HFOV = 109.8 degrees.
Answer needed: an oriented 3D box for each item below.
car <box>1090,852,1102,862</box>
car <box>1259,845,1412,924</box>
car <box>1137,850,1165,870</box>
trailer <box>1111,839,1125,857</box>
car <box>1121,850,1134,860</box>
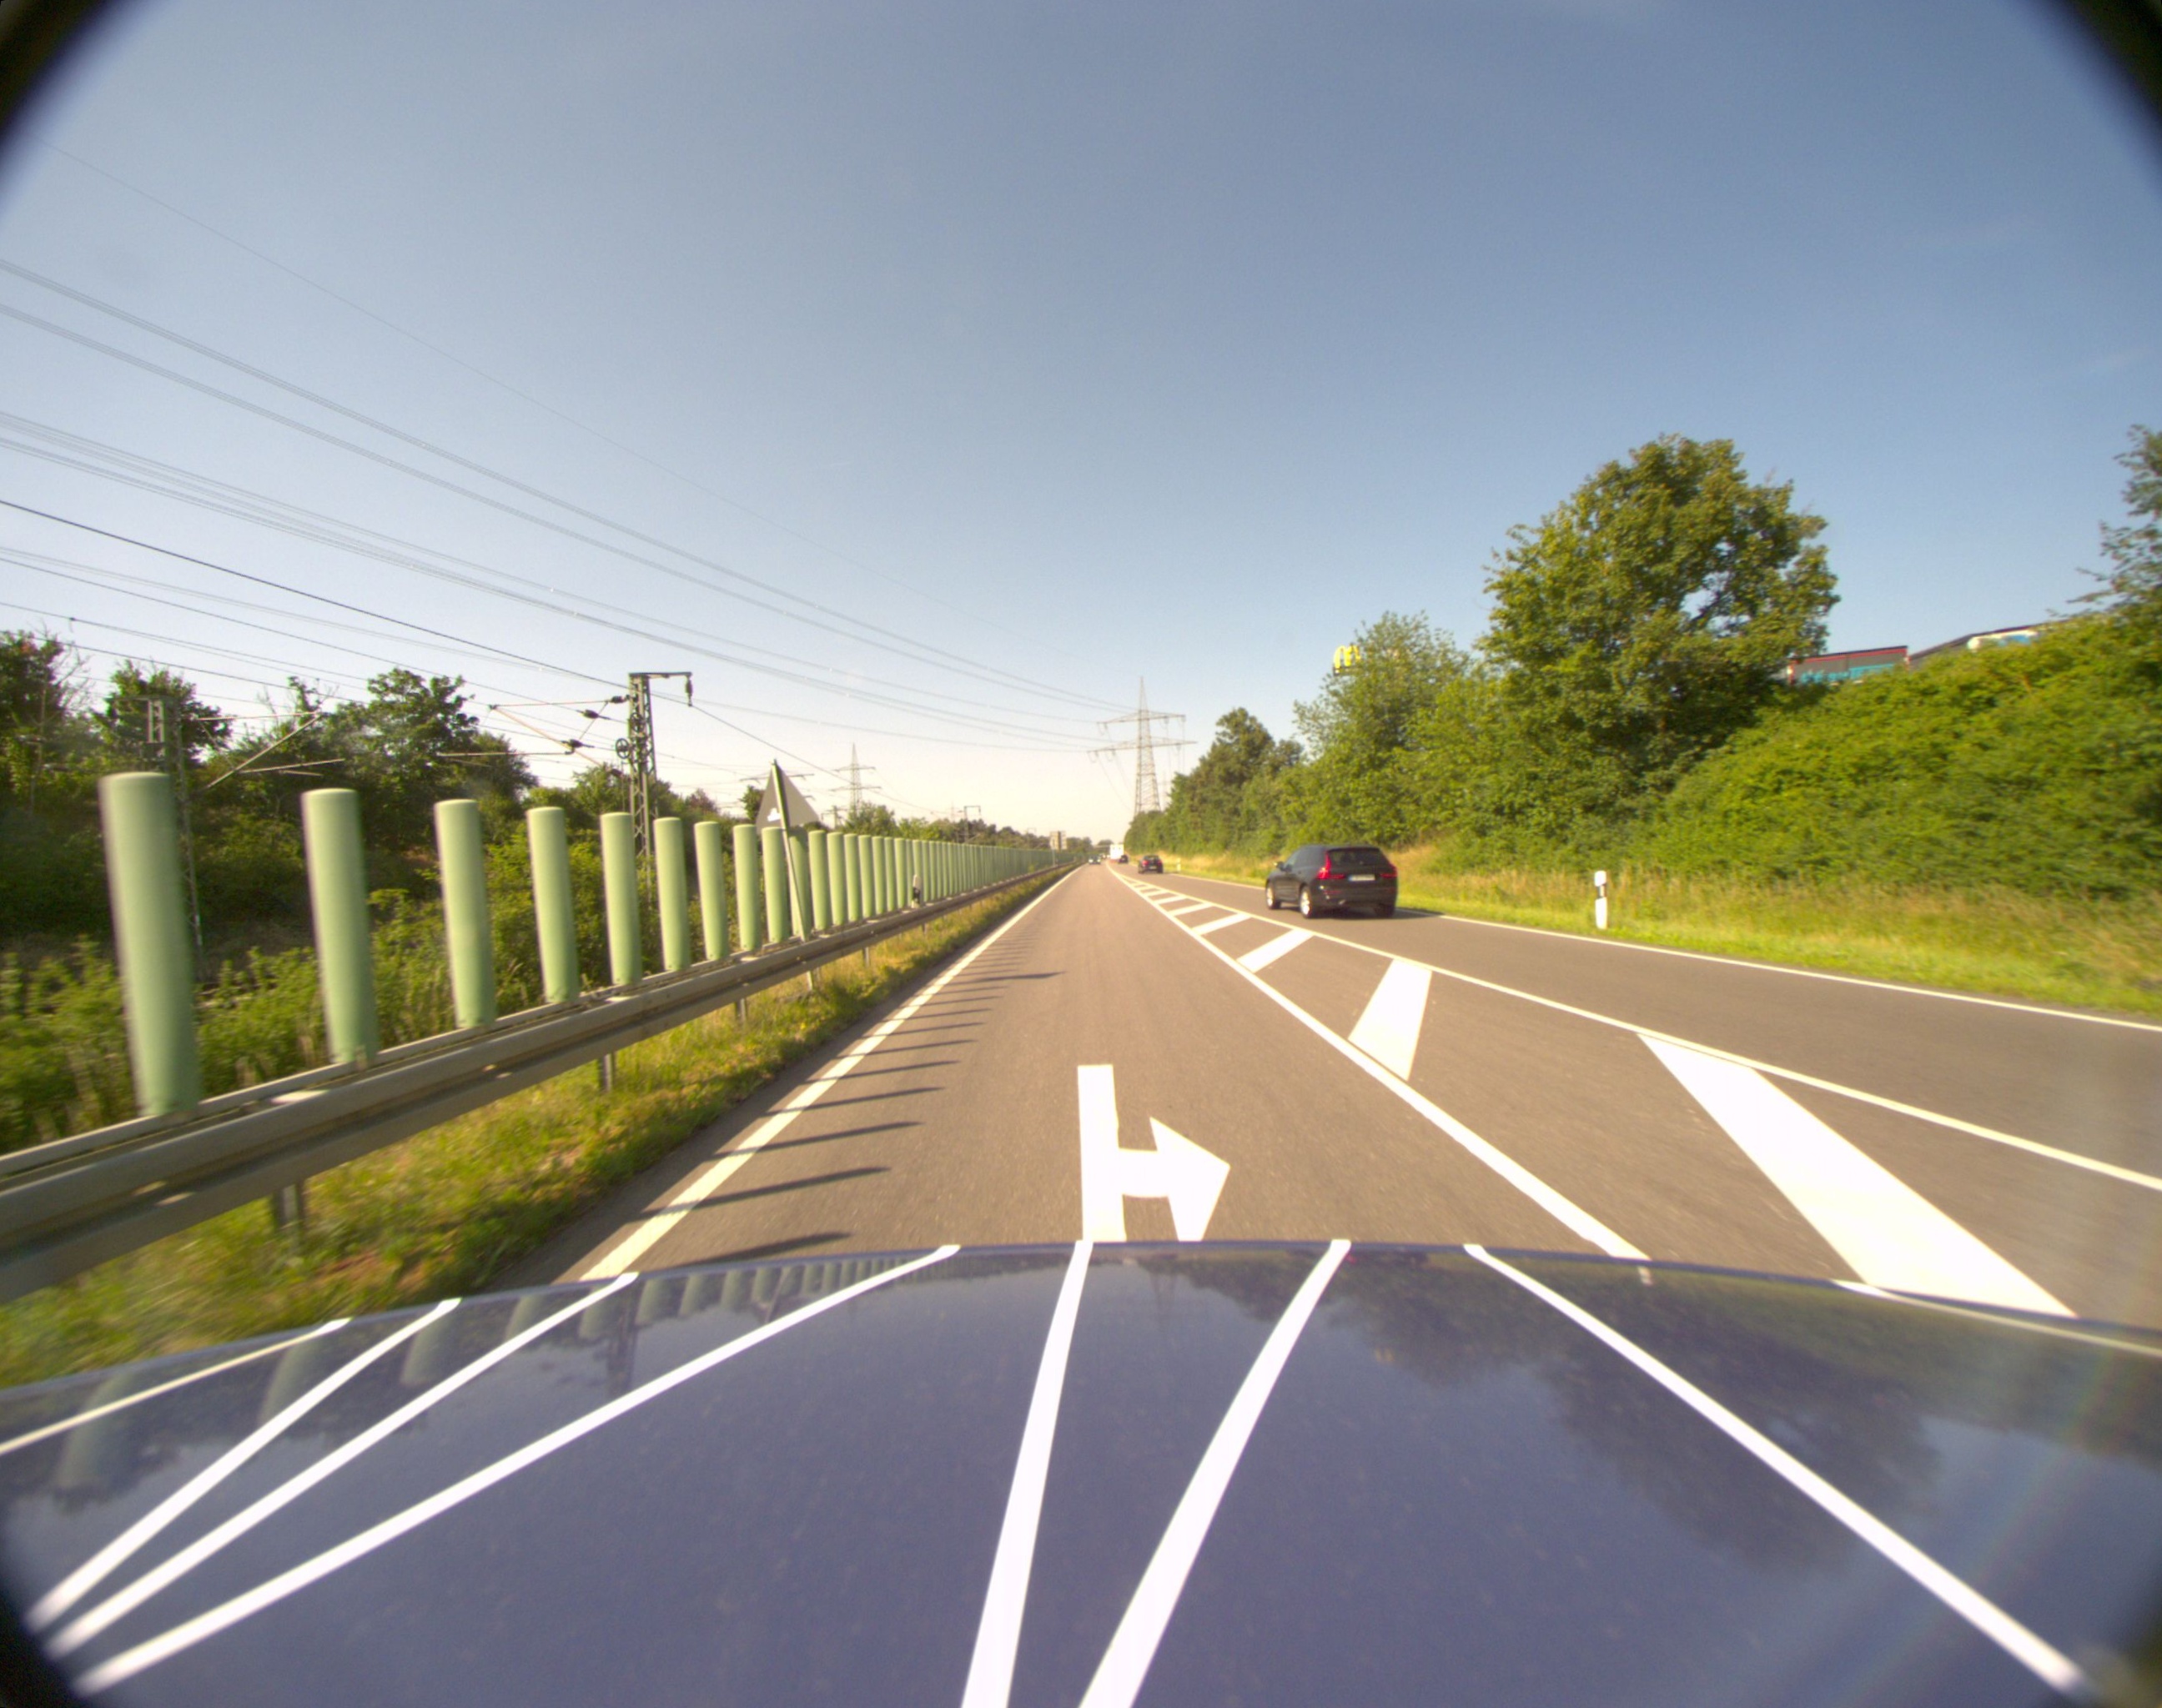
[{"bbox_3d":[2.444,0.515,120.940,1.787,1.550,4.000,-1,0,2],"label":"car"},{"bbox_3d":[5.707,0.610,17.662,1.927,1.583,4.428,-1,0,-2],"label":"car"},{"bbox_3d":[5.481,0.459,60.242,1.754,1.473,3.999,-2,0,-1],"label":"car"},{"bbox_3d":[7.690,-1.231,159.043,2.566,3.575,8.292,-2,0,1],"label":"trailer"},{"bbox_3d":[7.680,0.176,124.778,1.861,1.550,4.000,-1,0,0],"label":"car"}]
